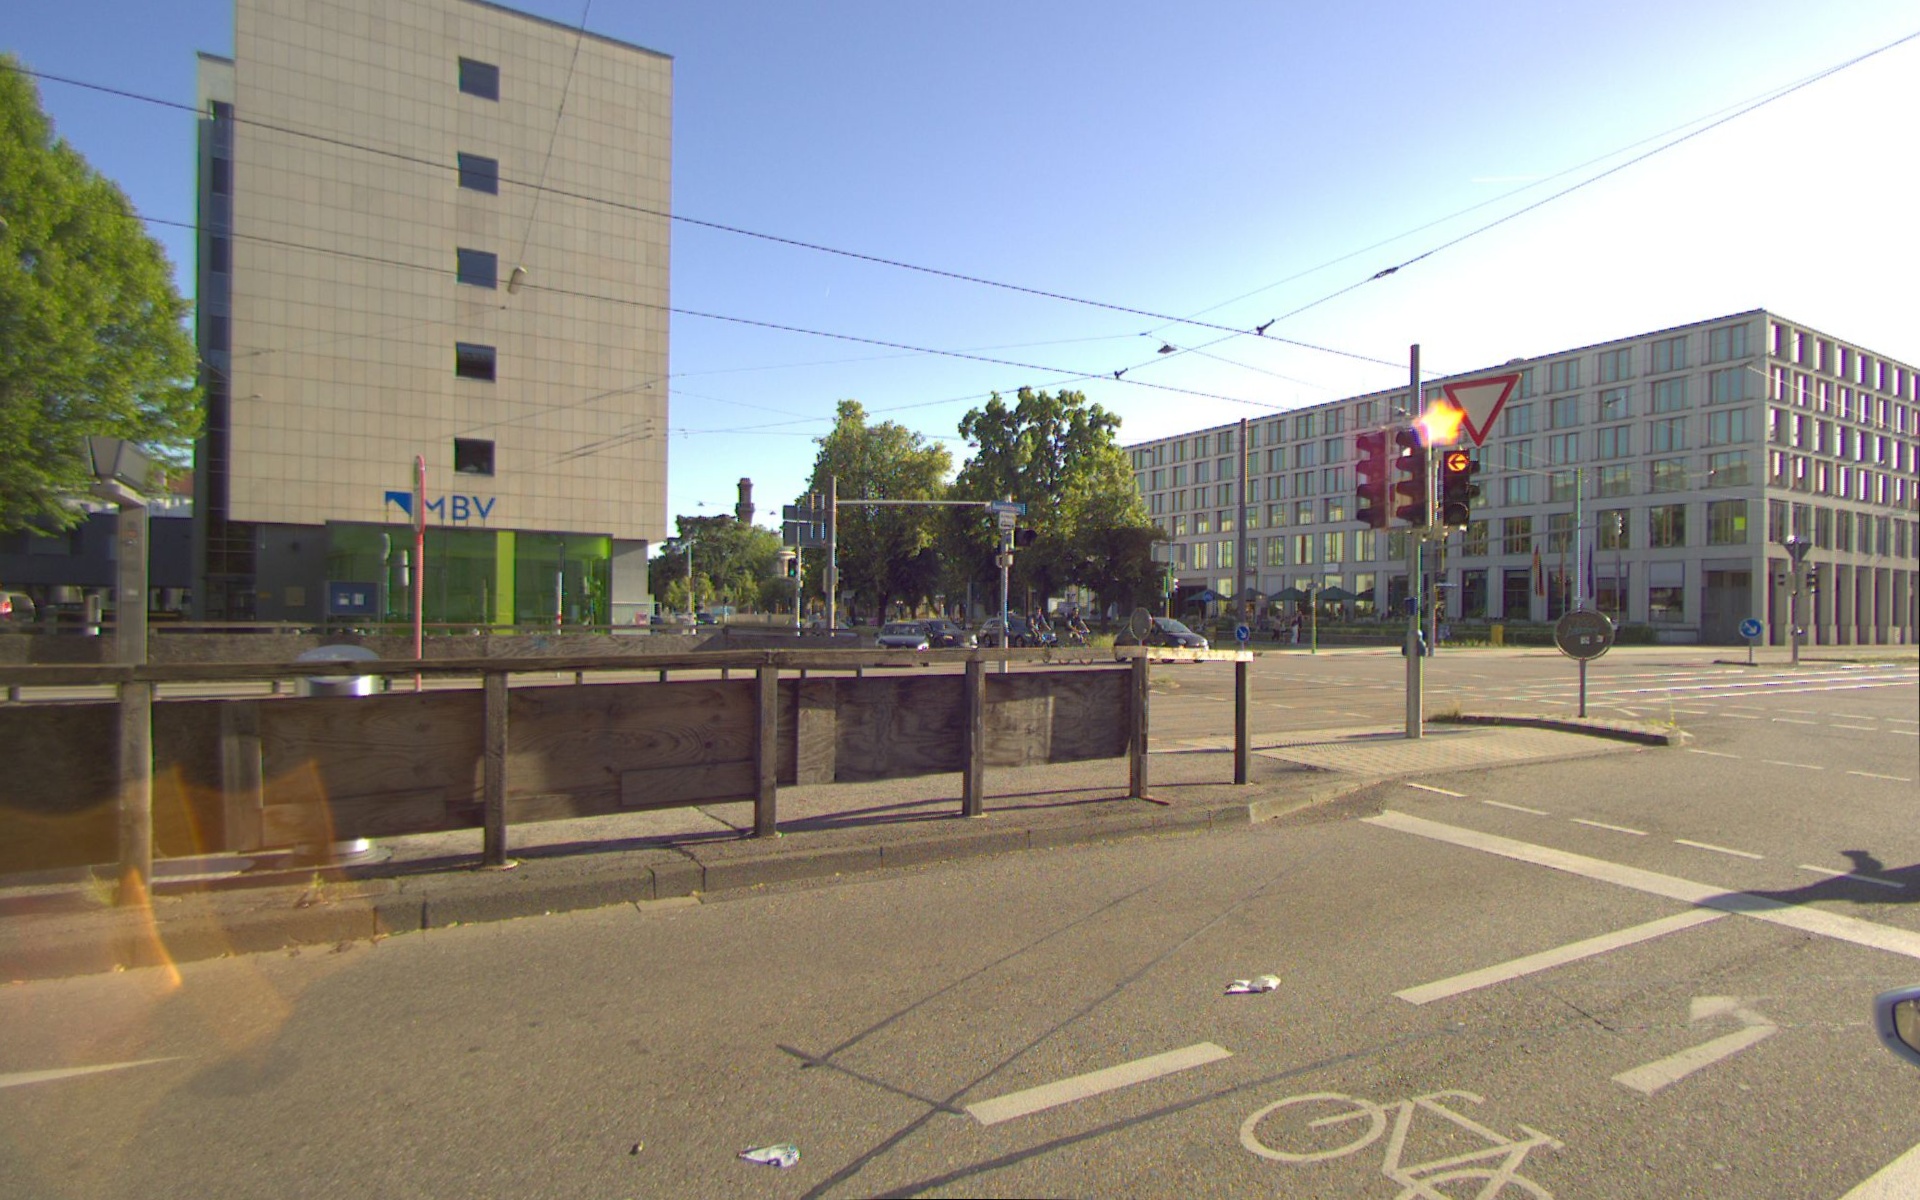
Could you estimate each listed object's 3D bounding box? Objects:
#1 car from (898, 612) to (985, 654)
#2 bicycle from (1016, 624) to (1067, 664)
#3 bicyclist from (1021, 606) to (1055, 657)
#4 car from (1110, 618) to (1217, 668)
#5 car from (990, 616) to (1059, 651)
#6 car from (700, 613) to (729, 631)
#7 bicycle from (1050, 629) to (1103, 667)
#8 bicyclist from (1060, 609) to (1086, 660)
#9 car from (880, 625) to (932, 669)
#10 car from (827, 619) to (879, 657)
[{"bbox_3d":[-0.912,1.443,45.544,1.910,1.679,4.878,0,1,-29],"label":"car"},{"bbox_3d":[2.785,1.488,34.413,0.874,1.305,2.042,1,-1,-24],"label":"bicycle"},{"bbox_3d":[2.688,1.085,34.643,0.833,1.717,0.887,1,-1,-24],"label":"bicyclist"},{"bbox_3d":[6.733,1.394,33.498,1.505,1.526,3.511,1,0,-32],"label":"car"},{"bbox_3d":[2.989,1.556,47.324,1.505,1.526,3.511,1,0,-32],"label":"car"},{"bbox_3d":[-22.029,1.973,90.142,1.505,1.526,3.511,1,0,-32],"label":"car"},{"bbox_3d":[3.654,1.504,31.652,0.779,1.137,1.918,1,-1,-24],"label":"bicycle"},{"bbox_3d":[3.583,1.088,31.772,0.586,1.603,0.617,1,-1,-24],"label":"bicyclist"},{"bbox_3d":[-1.707,1.486,32.505,1.441,1.311,3.229,-1,0,1],"label":"car"},{"bbox_3d":[-4.685,1.631,44.395,1.745,1.615,4.287,0,-1,1],"label":"car"}]
